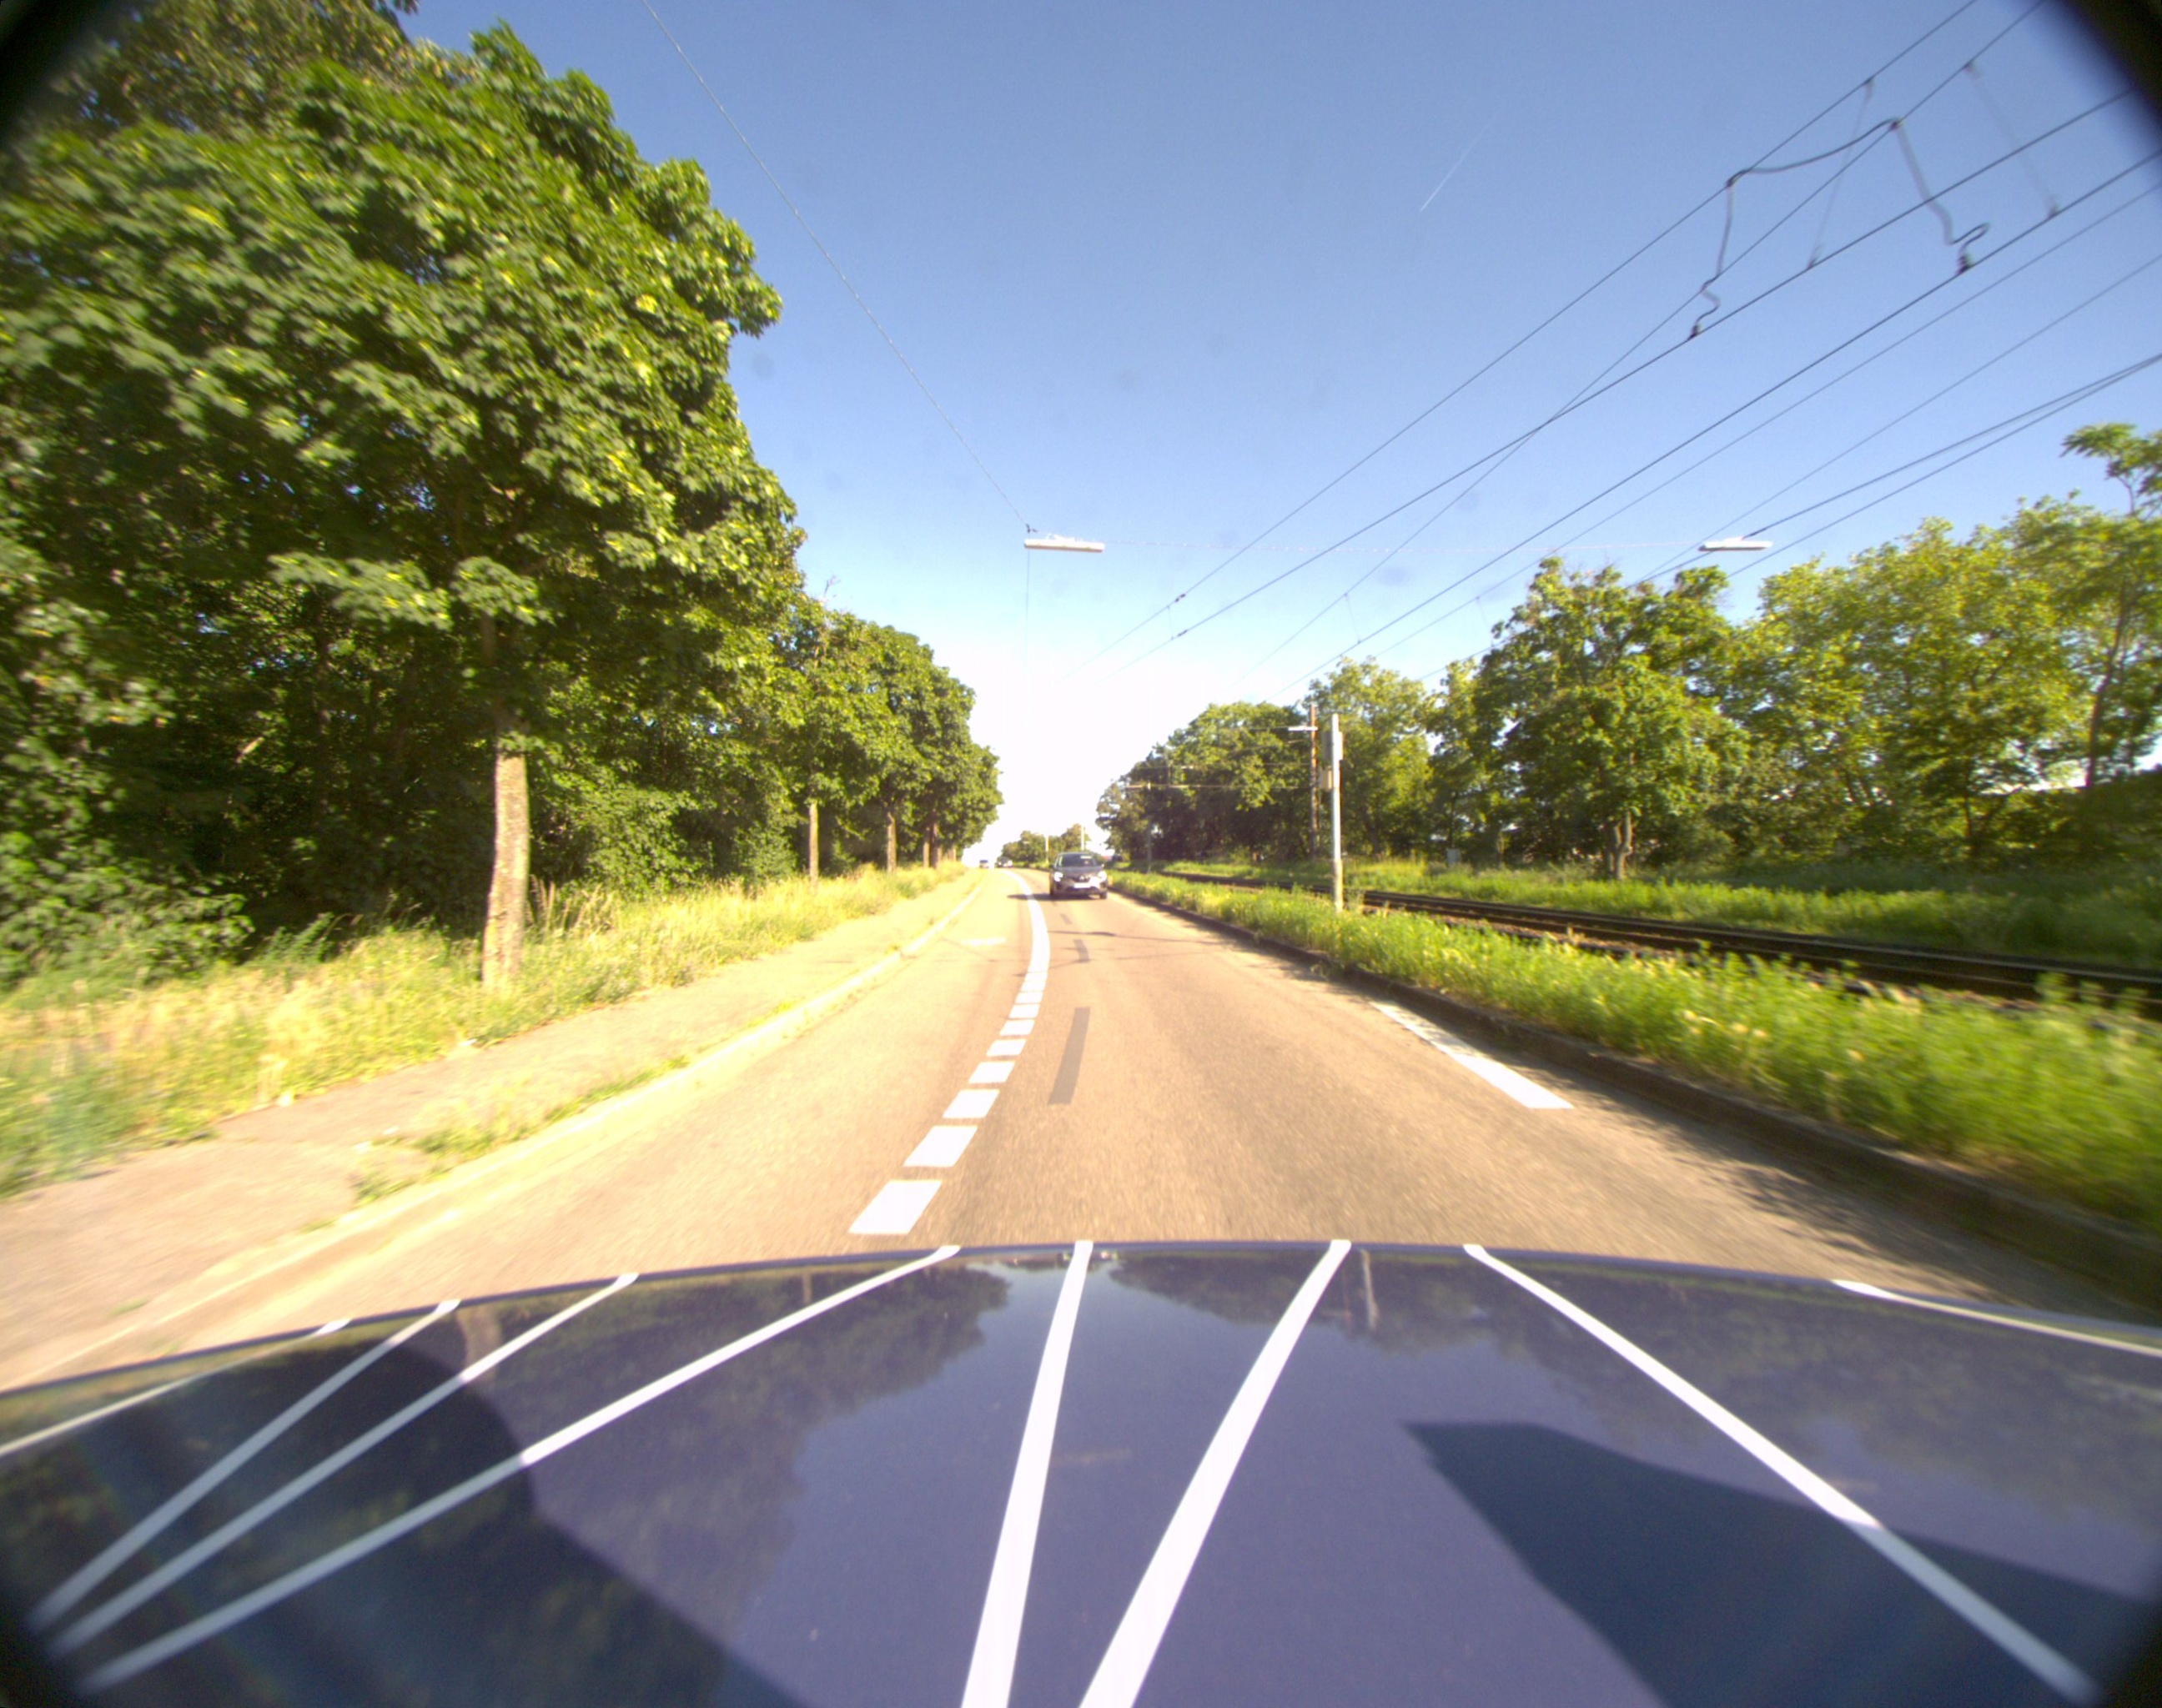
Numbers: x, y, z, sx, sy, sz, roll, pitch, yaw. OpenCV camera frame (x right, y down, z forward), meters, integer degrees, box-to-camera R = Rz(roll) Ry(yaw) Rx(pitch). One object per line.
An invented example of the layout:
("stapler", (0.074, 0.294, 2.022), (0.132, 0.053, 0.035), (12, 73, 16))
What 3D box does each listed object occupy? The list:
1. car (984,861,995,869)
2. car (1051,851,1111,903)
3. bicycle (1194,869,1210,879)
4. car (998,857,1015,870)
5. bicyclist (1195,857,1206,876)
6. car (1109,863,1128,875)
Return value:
("car", (-20.355, 2.400, 168.589), (2.001, 1.577, 3.995), (-2, 0, -13))
("car", (-0.090, 0.743, 26.540), (1.822, 1.589, 4.412), (-2, 0, -3))
("bicycle", (11.150, 1.826, 70.346), (0.821, 0.909, 2.536), (-1, 0, -6))
("car", (-9.961, 1.231, 101.228), (2.000, 1.577, 3.997), (-2, 0, -10))
("bicyclist", (11.092, 1.126, 70.423), (0.821, 1.726, 0.902), (-1, 0, -6))
("car", (4.813, 1.899, 98.078), (1.716, 1.470, 3.997), (-1, 0, -9))
